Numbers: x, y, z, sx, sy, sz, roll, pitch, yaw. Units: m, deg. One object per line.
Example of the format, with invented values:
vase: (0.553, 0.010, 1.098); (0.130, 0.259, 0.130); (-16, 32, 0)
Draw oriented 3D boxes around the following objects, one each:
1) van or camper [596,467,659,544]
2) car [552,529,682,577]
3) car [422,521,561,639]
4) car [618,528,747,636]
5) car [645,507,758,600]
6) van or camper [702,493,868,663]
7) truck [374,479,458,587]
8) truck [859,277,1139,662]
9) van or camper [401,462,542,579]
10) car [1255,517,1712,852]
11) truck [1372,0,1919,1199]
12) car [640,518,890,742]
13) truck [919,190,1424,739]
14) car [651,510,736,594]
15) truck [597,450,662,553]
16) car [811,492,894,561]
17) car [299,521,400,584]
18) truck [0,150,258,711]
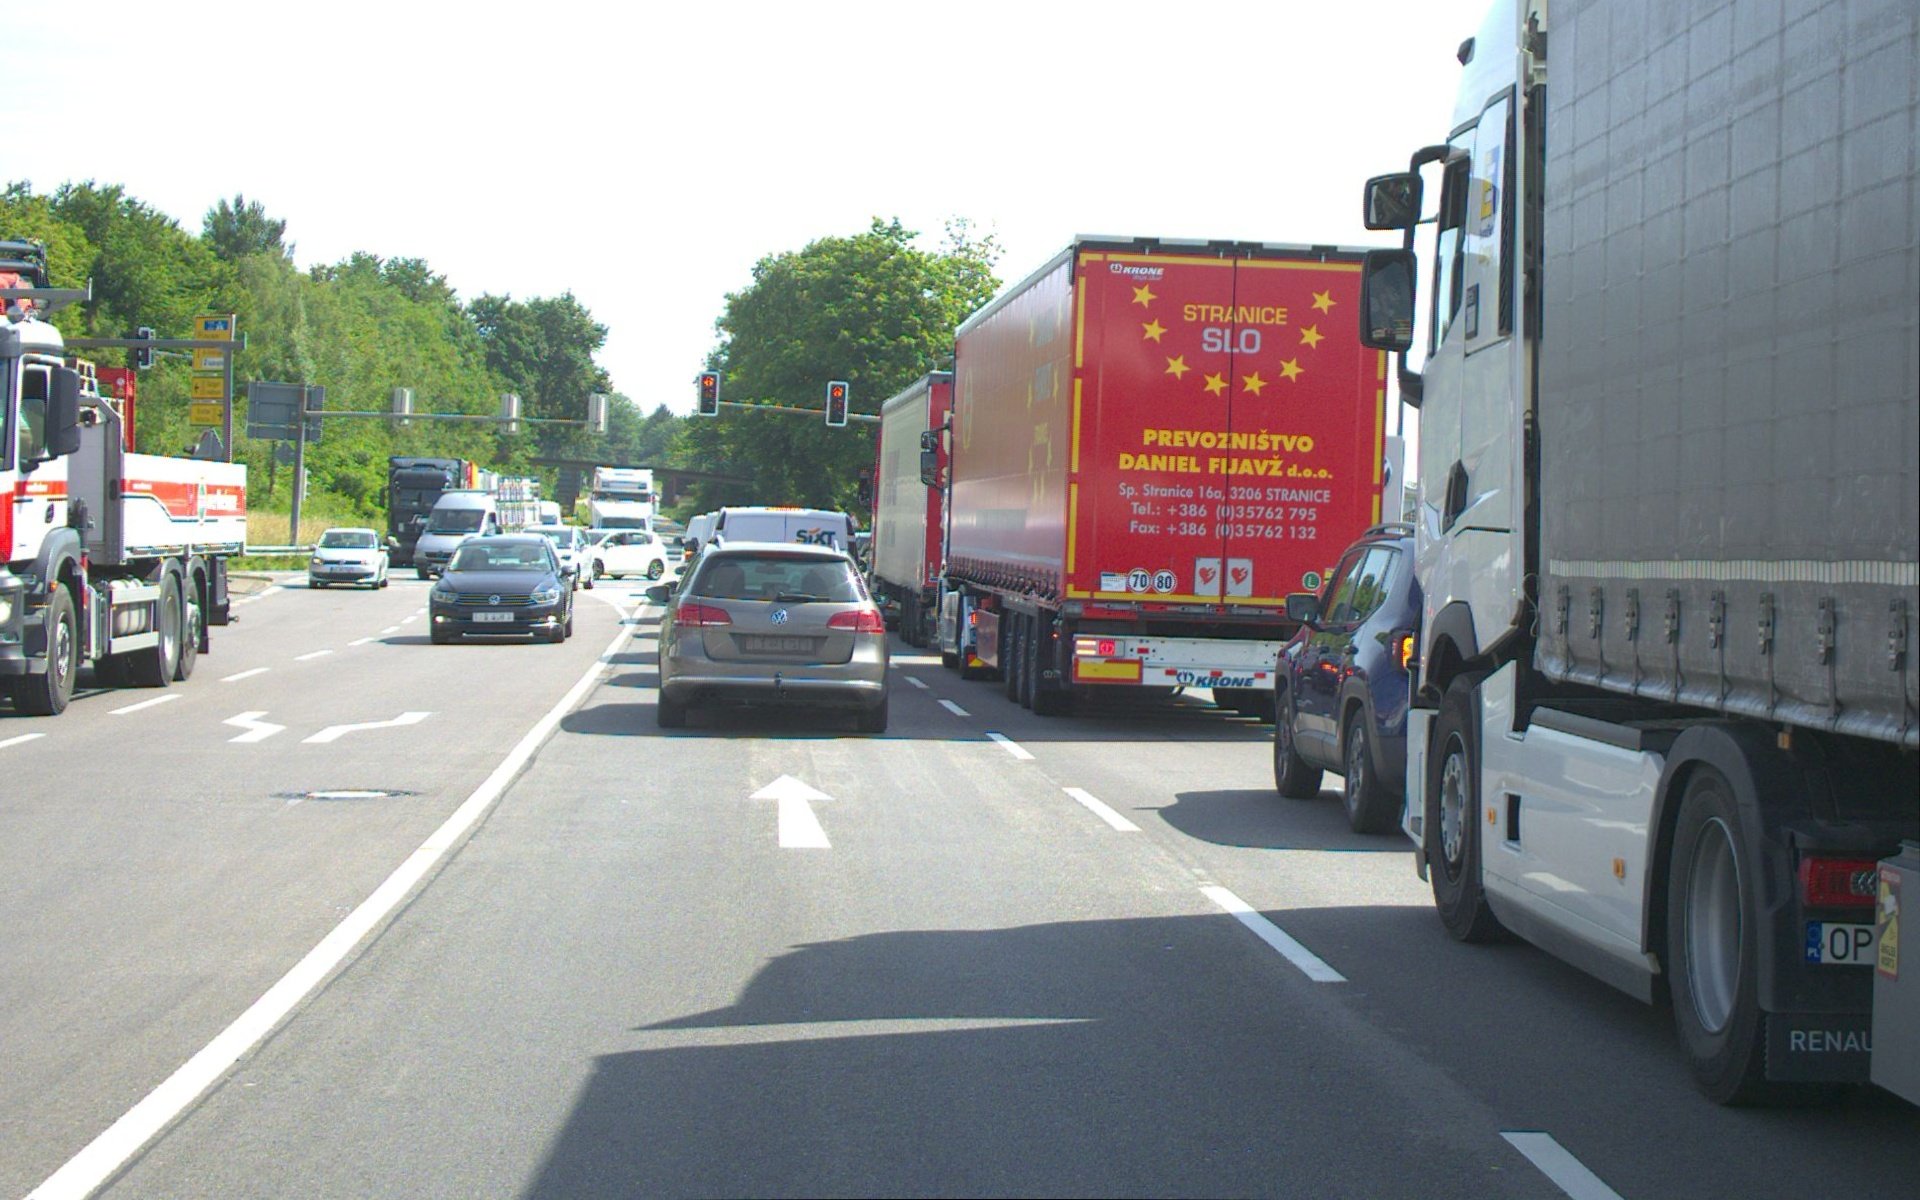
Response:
van or camper: (-12.987, -3.681, 134.547); (2.224, 2.831, 5.712); (2, 0, -4)
car: (-10.725, -1.461, 107.751); (1.716, 1.443, 4.072); (2, 1, 37)
car: (-6.539, -0.318, 48.362); (1.806, 1.554, 4.388); (1, 1, -6)
car: (-4.128, -0.273, 51.525); (1.726, 1.514, 3.312); (2, 0, -2)
car: (-4.467, -0.795, 59.682); (1.727, 1.514, 3.312); (2, 0, -1)
van or camper: (-2.163, -0.299, 41.575); (1.852, 1.899, 3.785); (2, 1, -4)
truck: (-19.545, -2.443, 123.814); (2.812, 3.773, 6.992); (0, 1, -8)
truck: (0.291, -1.988, 55.901); (3.062, 5.202, 17.010); (2, 1, -4)
van or camper: (-13.796, -2.210, 97.471); (2.208, 3.045, 5.900); (2, -1, 9)
car: (2.833, 0.389, 19.476); (1.819, 1.679, 4.001); (1, 1, -2)
truck: (3.434, -0.665, 6.249); (2.890, 4.251, 16.711); (1, 1, -1)
car: (-1.480, 0.192, 27.251); (1.790, 1.633, 3.504); (1, 1, -1)
truck: (1.585, -1.256, 35.545); (2.956, 4.255, 16.587); (2, 1, -4)
car: (-6.351, -1.132, 82.150); (1.727, 1.902, 3.312); (2, 0, -1)
truck: (-14.186, -4.220, 147.816); (2.552, 4.292, 7.597); (0, 1, -4)
car: (-2.538, -1.702, 80.461); (1.726, 1.514, 3.313); (2, 0, -4)
car: (-14.634, -1.161, 82.577); (1.836, 1.443, 4.081); (1, 1, -2)
truck: (-8.694, -1.379, 30.992); (2.956, 4.194, 10.648); (0, 1, -2)
